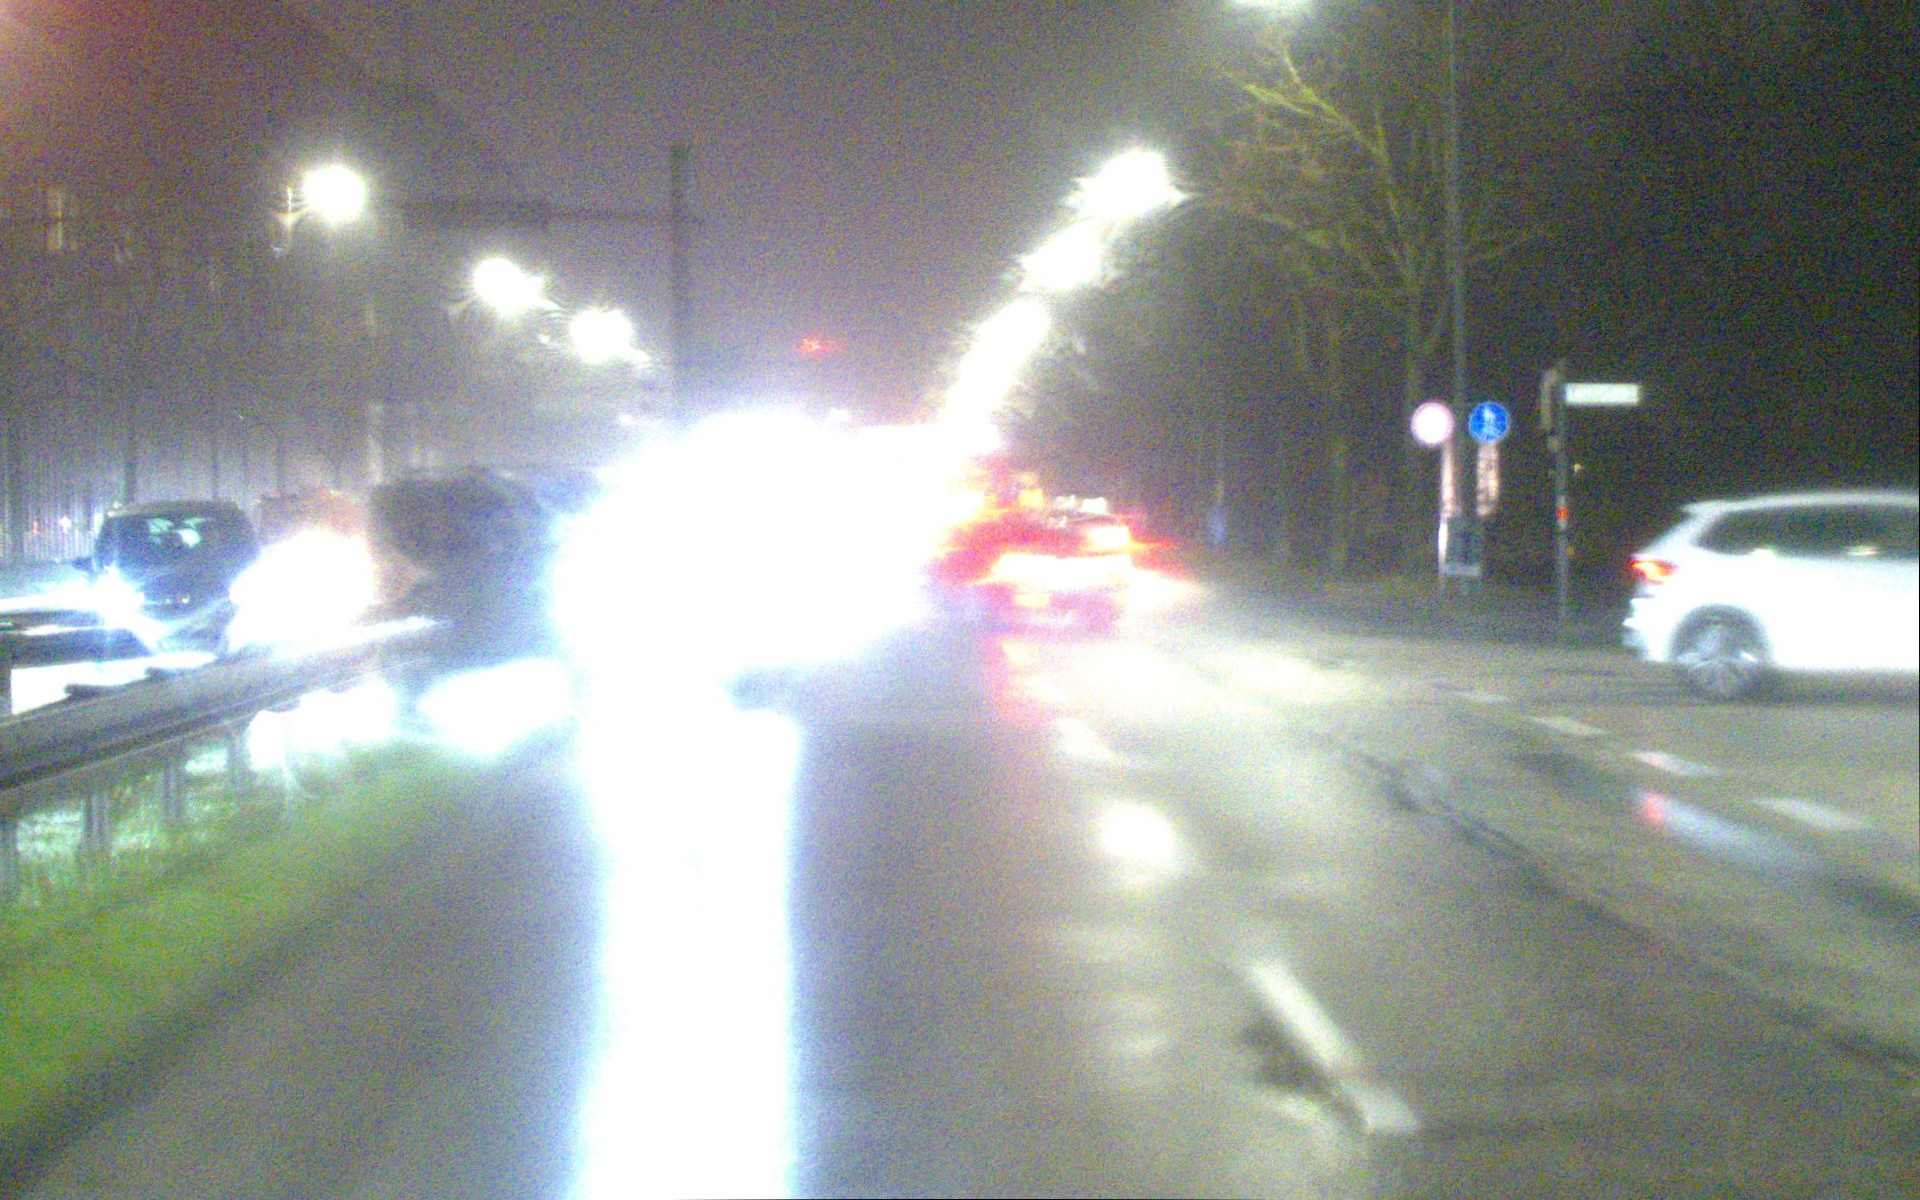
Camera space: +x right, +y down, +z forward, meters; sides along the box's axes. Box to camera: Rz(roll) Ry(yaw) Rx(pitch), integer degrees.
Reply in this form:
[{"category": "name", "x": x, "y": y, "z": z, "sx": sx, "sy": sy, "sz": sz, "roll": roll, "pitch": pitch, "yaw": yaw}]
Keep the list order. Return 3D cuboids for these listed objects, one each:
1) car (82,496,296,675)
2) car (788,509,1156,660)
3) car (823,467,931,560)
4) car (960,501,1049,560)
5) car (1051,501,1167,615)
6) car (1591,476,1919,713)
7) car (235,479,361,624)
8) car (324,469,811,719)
[{"category": "car", "x": -7.703, "y": -0.159, "z": 34.342, "sx": 1.952, "sy": 1.667, "sz": 4.418, "roll": 0, "pitch": 1, "yaw": -13}, {"category": "car", "x": 0.189, "y": -0.197, "z": 41.844, "sx": 4.294, "sy": 1.779, "sz": 2.044, "roll": 0, "pitch": 1, "yaw": 6}, {"category": "car", "x": -2.050, "y": -2.073, "z": 83.646, "sx": 2.441, "sy": 2.186, "sz": 5.080, "roll": 0, "pitch": 1, "yaw": -3}, {"category": "car", "x": 1.168, "y": -1.851, "z": 92.624, "sx": 2.091, "sy": 1.540, "sz": 4.307, "roll": 0, "pitch": 1, "yaw": -3}, {"category": "car", "x": 2.740, "y": -0.770, "z": 63.079, "sx": 2.038, "sy": 2.007, "sz": 4.307, "roll": 0, "pitch": 1, "yaw": 3}, {"category": "car", "x": 7.000, "y": -0.048, "z": 24.965, "sx": 4.454, "sy": 1.665, "sz": 1.838, "roll": 0, "pitch": 1, "yaw": 24}, {"category": "car", "x": -9.546, "y": -0.692, "z": 49.395, "sx": 1.698, "sy": 2.007, "sz": 3.569, "roll": 0, "pitch": 1, "yaw": -12}, {"category": "car", "x": -2.990, "y": -0.061, "z": 25.693, "sx": 1.718, "sy": 1.728, "sz": 3.763, "roll": -1, "pitch": 1, "yaw": -43}]
